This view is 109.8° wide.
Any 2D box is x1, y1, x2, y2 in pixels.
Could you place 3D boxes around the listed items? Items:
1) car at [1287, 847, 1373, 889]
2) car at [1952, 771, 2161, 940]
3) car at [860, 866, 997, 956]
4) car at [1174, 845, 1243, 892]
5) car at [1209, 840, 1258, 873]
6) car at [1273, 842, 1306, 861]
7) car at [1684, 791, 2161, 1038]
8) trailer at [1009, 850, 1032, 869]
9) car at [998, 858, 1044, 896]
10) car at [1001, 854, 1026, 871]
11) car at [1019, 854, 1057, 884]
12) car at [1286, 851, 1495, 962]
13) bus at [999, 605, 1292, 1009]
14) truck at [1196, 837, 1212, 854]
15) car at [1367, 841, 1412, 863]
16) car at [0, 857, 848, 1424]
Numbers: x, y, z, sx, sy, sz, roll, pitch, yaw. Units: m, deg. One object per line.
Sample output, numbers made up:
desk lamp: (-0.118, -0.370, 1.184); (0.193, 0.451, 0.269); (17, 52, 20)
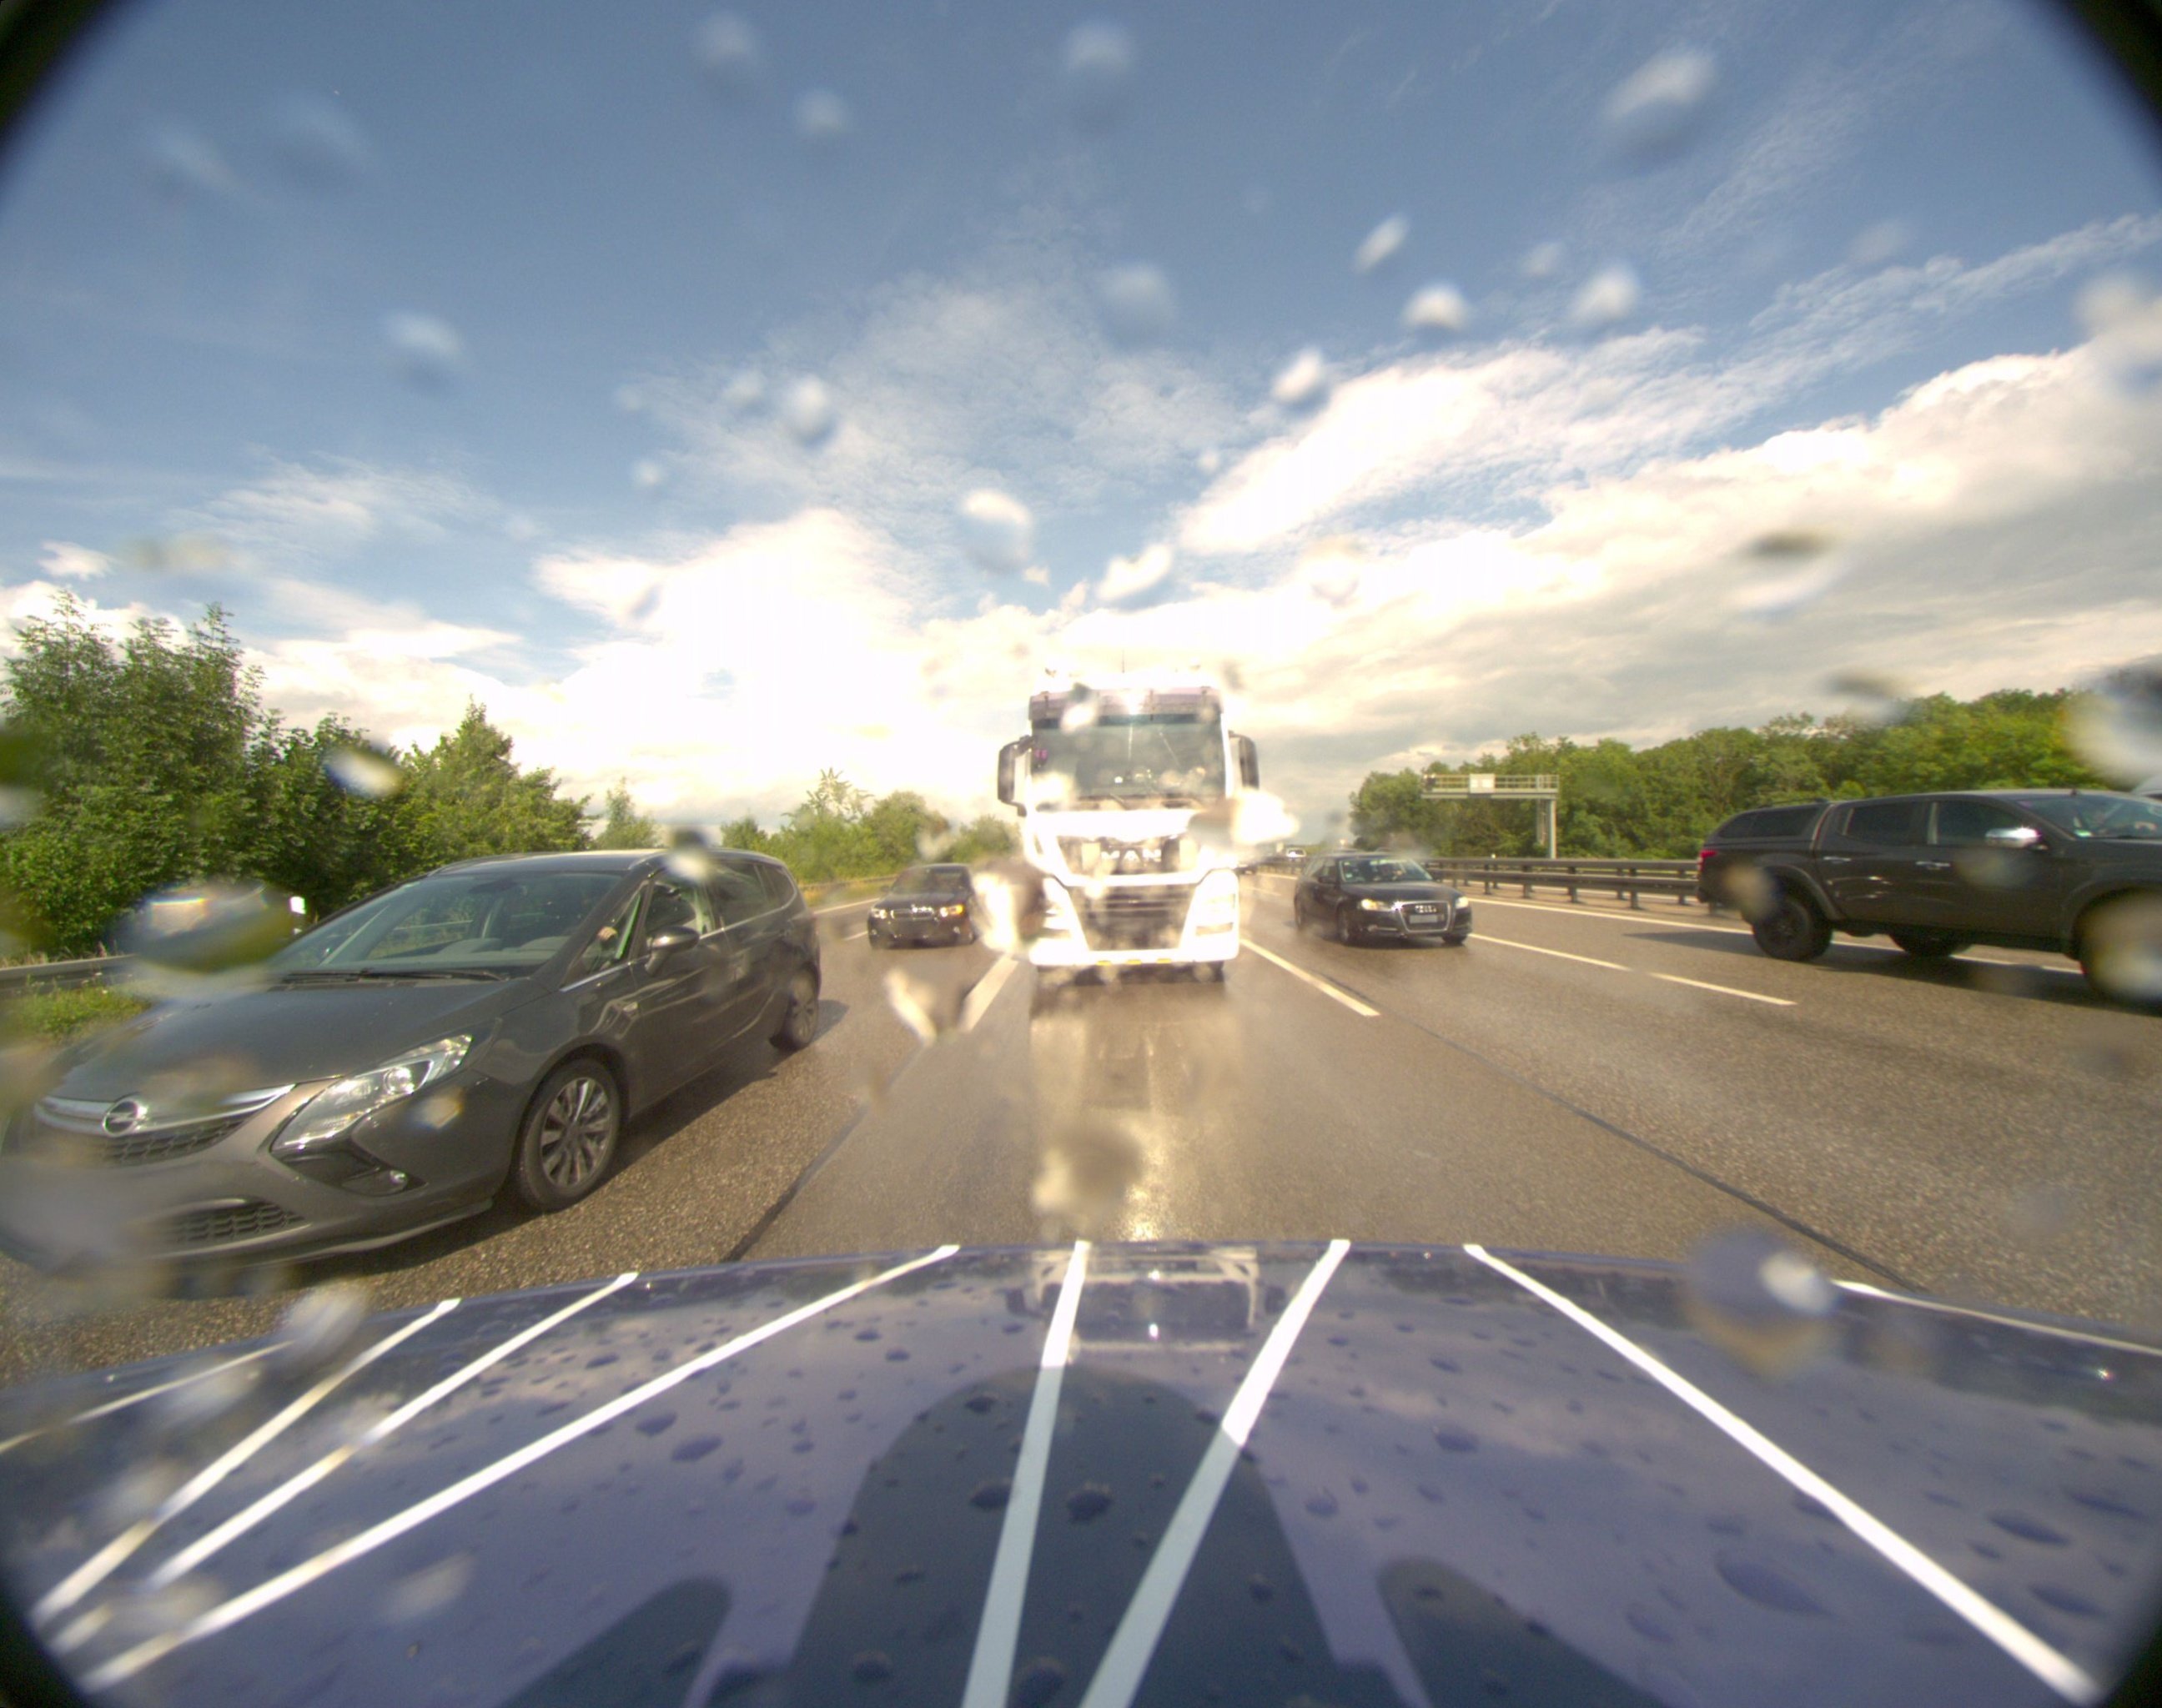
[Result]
car: (9.402, 0.470, 29.038); (1.925, 1.416, 4.372); (-2, 1, 2)
car: (16.261, -0.004, 10.220); (2.119, 2.382, 6.102); (-2, 0, 1)
car: (-2.720, 0.966, 14.407); (1.722, 1.346, 3.884); (-2, 0, 1)
car: (4.954, 0.504, 30.188); (1.881, 1.669, 4.625); (-2, 0, 0)
car: (9.428, 0.124, 47.337); (1.998, 1.906, 5.235); (-2, 1, 0)
car: (17.101, -0.196, 62.427); (1.680, 1.477, 3.703); (-2, 0, 1)
car: (8.945, 0.409, 7.451); (1.811, 1.833, 5.418); (-2, 0, 1)
trailer: (-5.938, 0.559, 75.136); (1.810, 1.736, 3.967); (-3, 1, 1)
car: (-2.432, 0.907, 31.628); (1.744, 1.357, 3.998); (-2, 0, -3)
car: (-6.251, 0.771, 70.957); (1.747, 1.422, 4.405); (-2, 1, 2)
car: (-2.298, 0.772, 41.523); (1.858, 1.434, 3.999); (-2, 1, -1)
car: (4.734, 0.704, 12.296); (1.754, 1.425, 4.054); (-2, 0, 1)
bus: (0.749, -0.508, 12.852); (2.904, 4.104, 9.845); (-2, 0, 1)
truck: (30.159, -2.045, 186.982); (2.799, 3.861, 8.919); (-2, 0, 3)
car: (21.456, -0.152, 52.937); (1.754, 1.425, 3.634); (-2, 0, 3)
car: (-3.152, 0.886, 4.638); (1.858, 1.622, 4.735); (-2, 0, 1)
